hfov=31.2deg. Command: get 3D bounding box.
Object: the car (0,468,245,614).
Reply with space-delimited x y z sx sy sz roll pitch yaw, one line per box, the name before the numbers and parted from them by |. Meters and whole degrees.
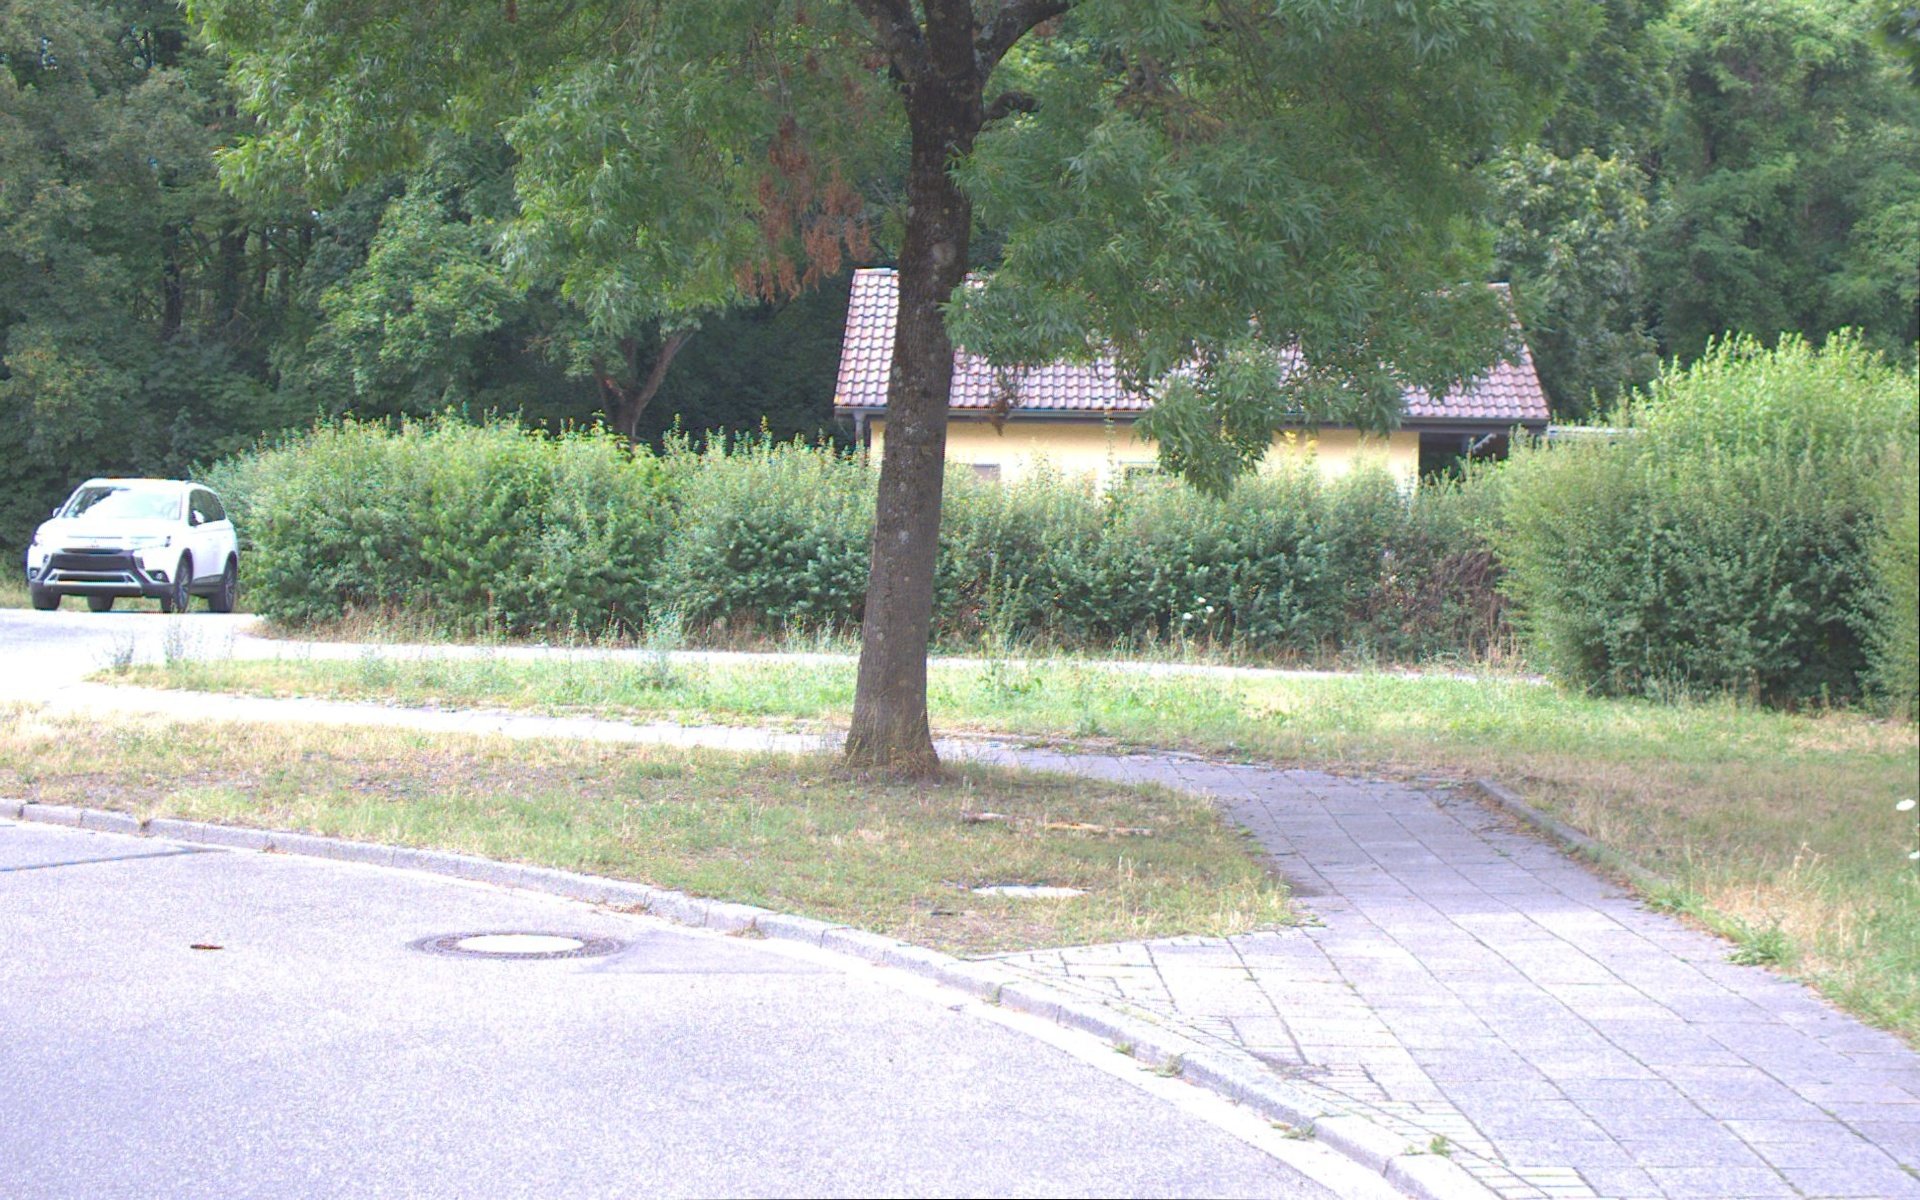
car | -10.241 -0.739 42.230 1.937 1.654 4.341 1 1 1
